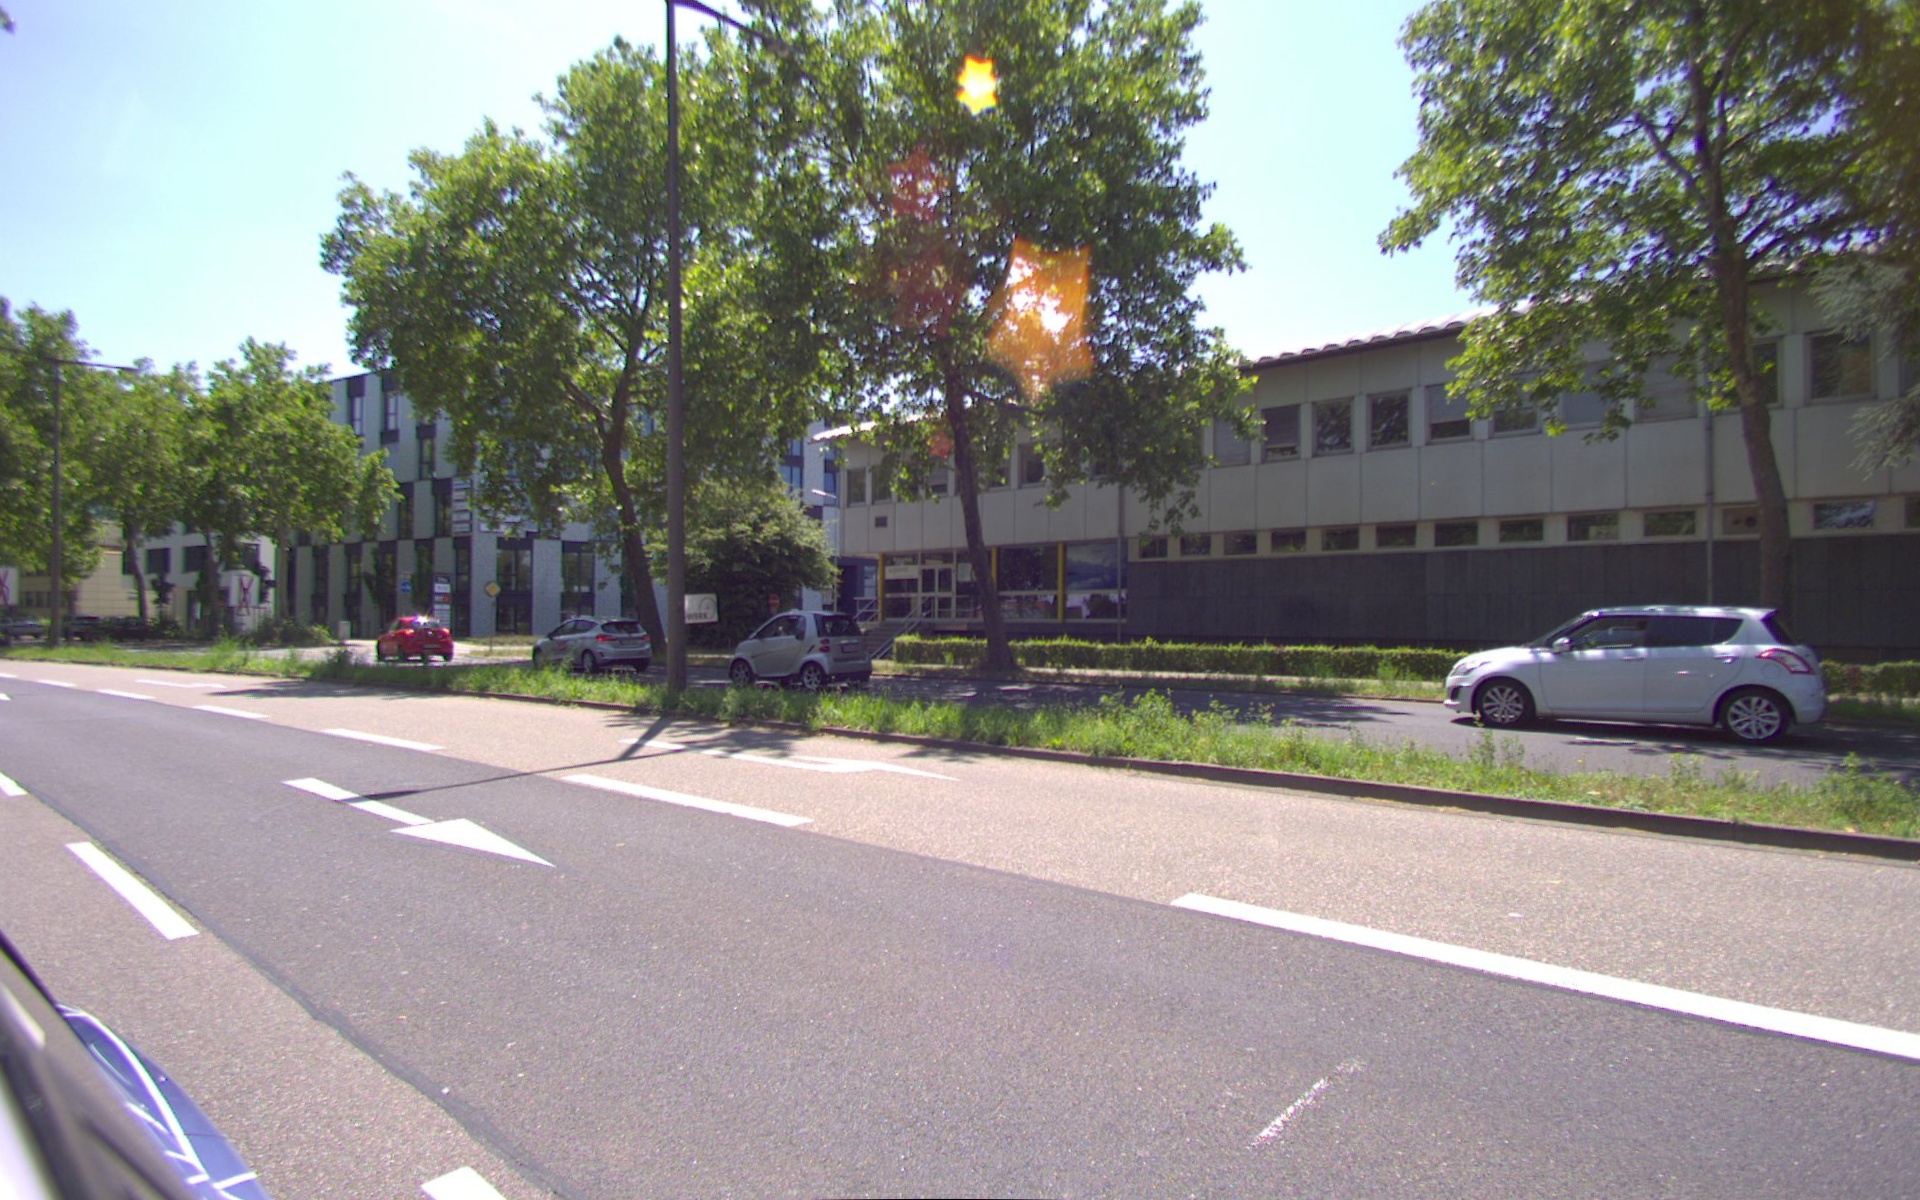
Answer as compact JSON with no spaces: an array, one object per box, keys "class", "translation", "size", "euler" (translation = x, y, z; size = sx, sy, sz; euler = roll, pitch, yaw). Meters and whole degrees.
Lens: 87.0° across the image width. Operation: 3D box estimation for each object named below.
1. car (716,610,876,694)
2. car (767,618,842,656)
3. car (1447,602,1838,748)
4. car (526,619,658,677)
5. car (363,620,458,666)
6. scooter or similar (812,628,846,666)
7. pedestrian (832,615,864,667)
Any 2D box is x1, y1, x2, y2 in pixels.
[{"class":"car","translation":[-3.256,0.995,20.056],"size":[2.844,1.540,1.521],"euler":[-1,-2,32]},{"class":"car","translation":[-7.448,1.735,48.348],"size":[3.528,1.660,1.795],"euler":[-1,0,44]},{"class":"car","translation":[8.032,0.806,12.096],"size":[3.672,1.470,1.713],"euler":[-1,-2,41]},{"class":"car","translation":[-9.861,1.245,27.051],"size":[3.669,1.454,1.733],"euler":[-1,-2,40]},{"class":"car","translation":[-18.585,1.410,34.211],"size":[3.528,1.472,1.655],"euler":[-1,-2,40]},{"class":"scooter or similar","translation":[-4.139,1.473,31.947],"size":[0.858,1.172,0.671],"euler":[-1,-2,39]},{"class":"pedestrian","translation":[-3.483,1.266,31.428],"size":[0.790,1.572,0.635],"euler":[-1,-2,39]}]
